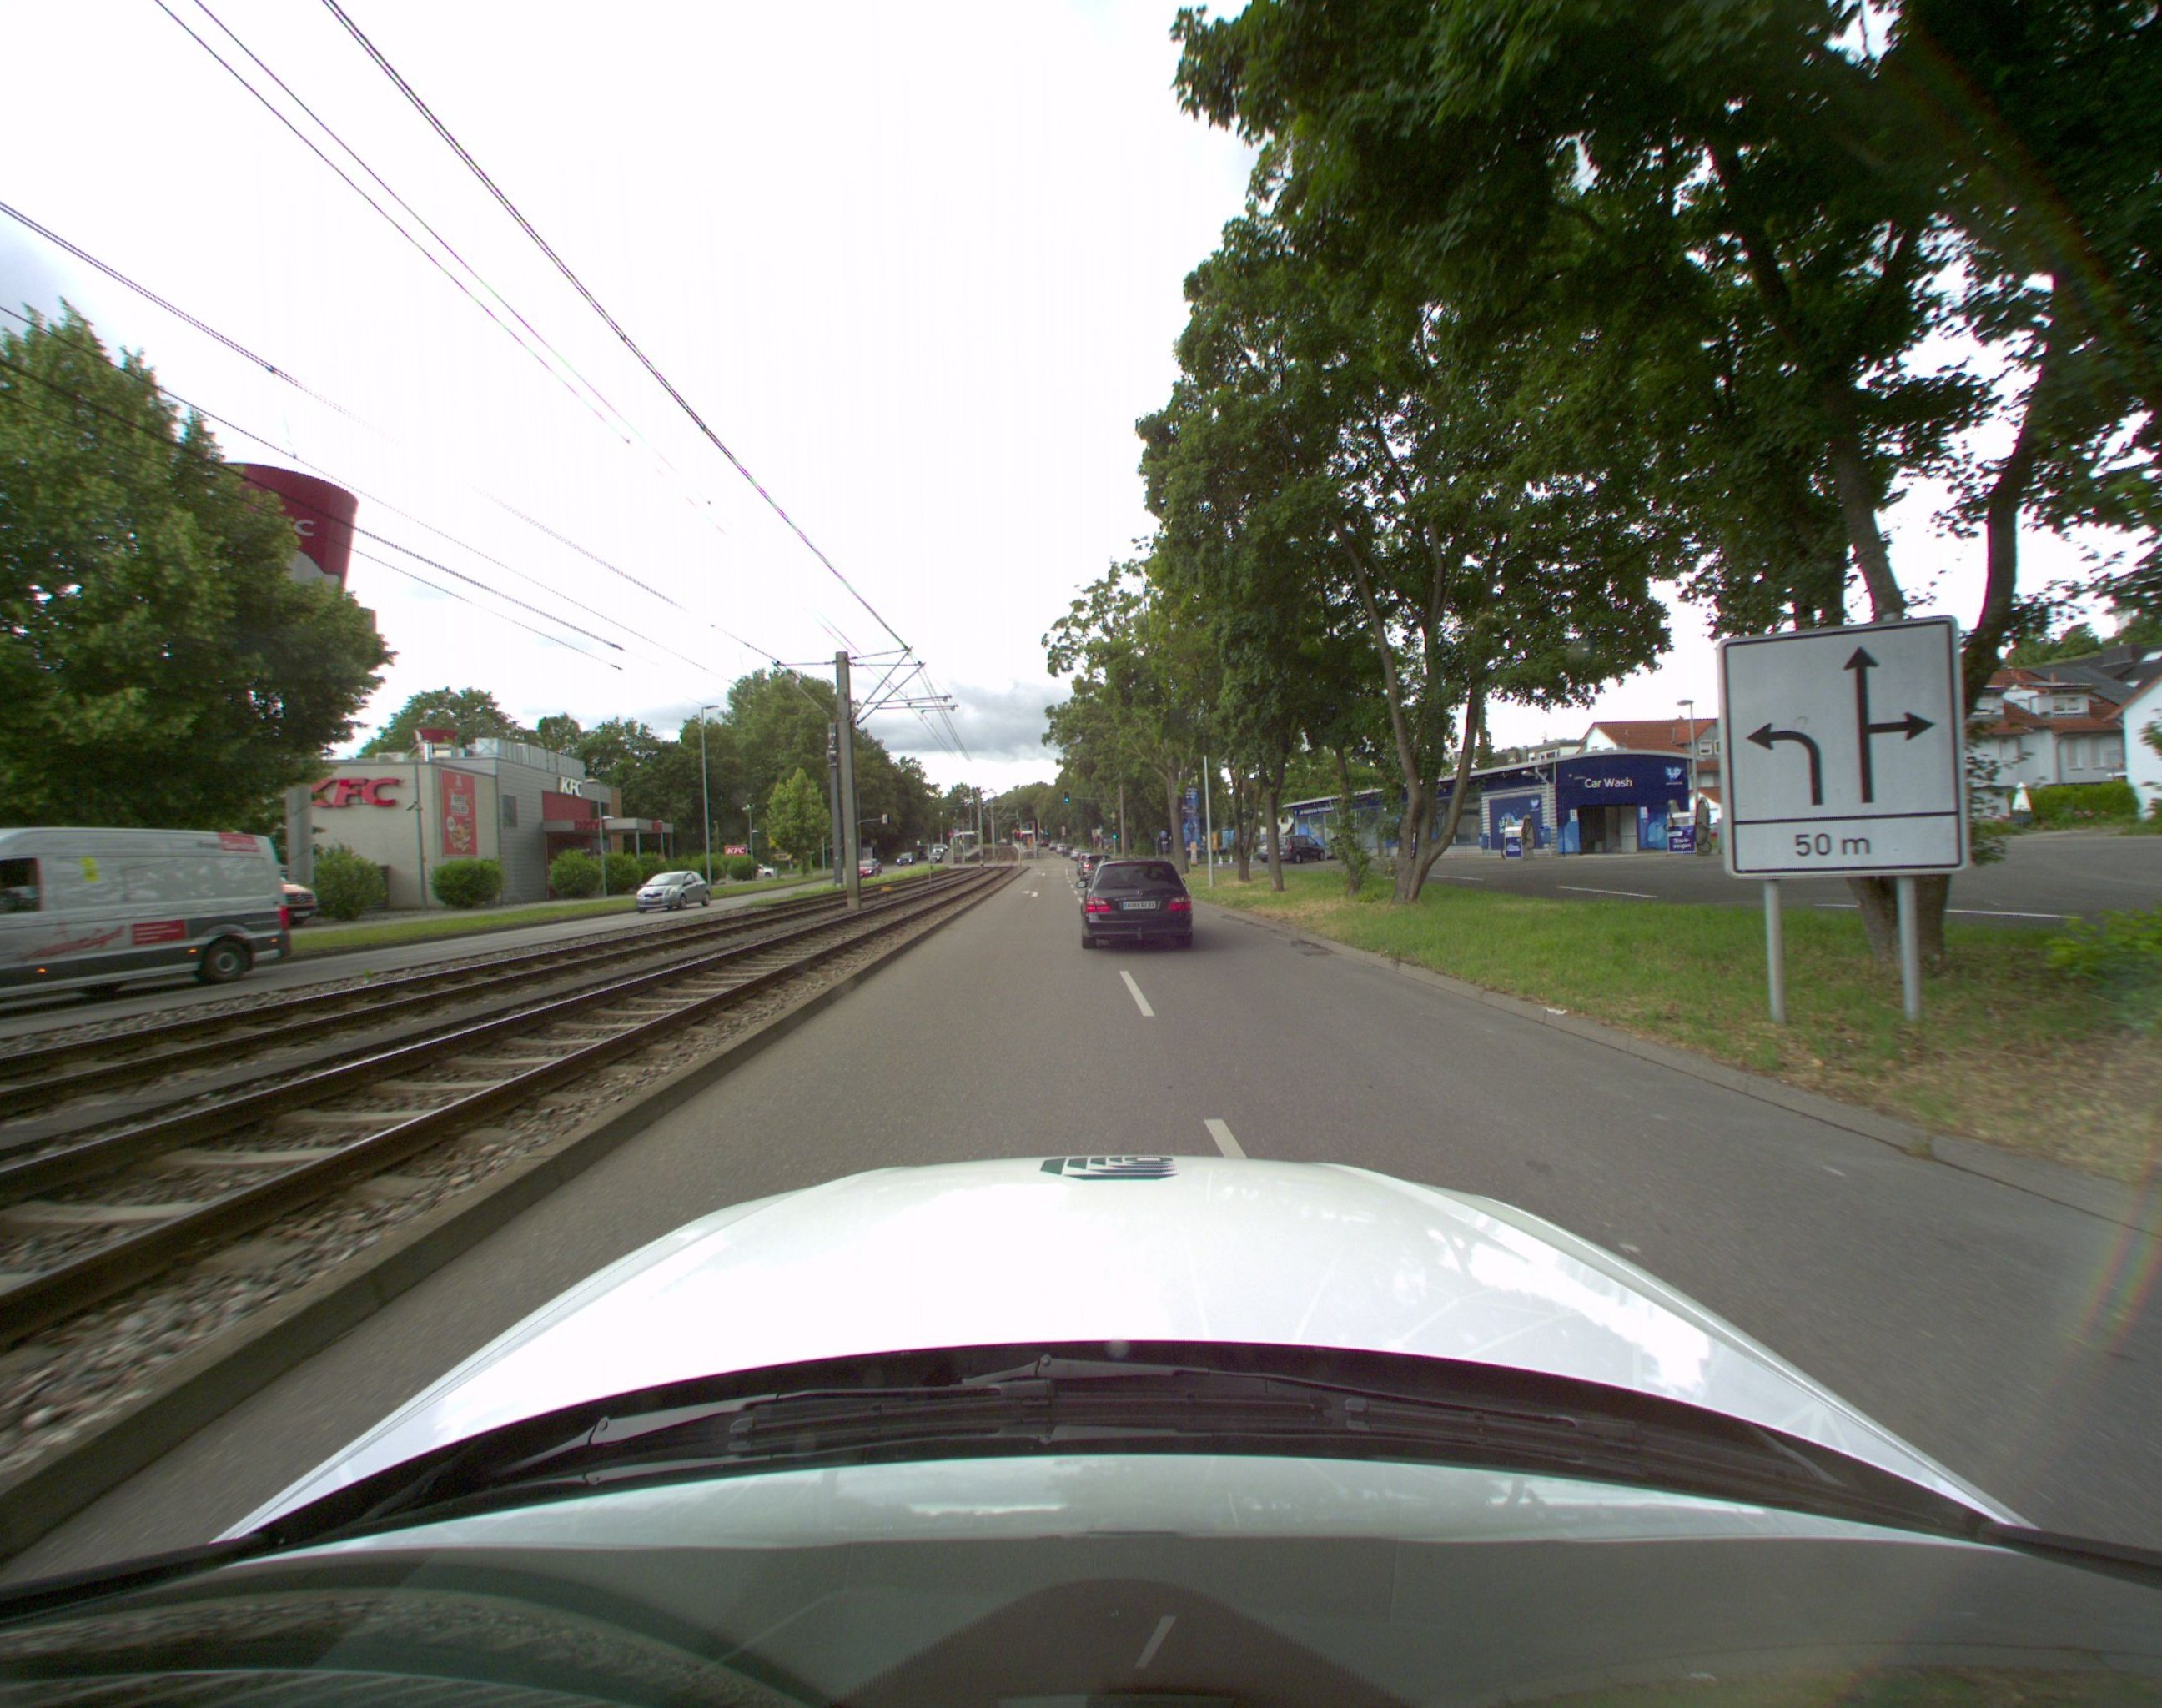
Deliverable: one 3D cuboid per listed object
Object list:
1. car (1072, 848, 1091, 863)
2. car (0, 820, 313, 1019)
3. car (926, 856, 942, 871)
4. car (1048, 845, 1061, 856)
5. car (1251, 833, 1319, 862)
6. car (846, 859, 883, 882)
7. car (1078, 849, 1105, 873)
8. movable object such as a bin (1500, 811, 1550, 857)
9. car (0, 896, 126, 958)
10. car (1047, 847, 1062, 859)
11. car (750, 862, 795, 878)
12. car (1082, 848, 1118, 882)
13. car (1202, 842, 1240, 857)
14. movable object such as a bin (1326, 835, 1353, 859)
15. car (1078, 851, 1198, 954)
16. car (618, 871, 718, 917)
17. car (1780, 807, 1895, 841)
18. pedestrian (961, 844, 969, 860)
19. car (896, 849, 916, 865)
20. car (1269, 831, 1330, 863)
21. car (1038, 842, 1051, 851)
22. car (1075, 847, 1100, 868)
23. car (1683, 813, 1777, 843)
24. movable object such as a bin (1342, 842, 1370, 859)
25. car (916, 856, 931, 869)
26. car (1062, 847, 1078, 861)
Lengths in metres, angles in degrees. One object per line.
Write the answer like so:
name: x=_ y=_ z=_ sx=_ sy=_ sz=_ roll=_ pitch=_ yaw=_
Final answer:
car: x=0.024 y=0.179 z=100.076 sx=1.991 sy=1.893 sz=3.992 roll=0 pitch=0 yaw=-6
car: x=-14.626 y=0.886 z=11.554 sx=1.865 sy=2.499 sz=5.992 roll=-4 pitch=0 yaw=-3
car: x=-19.507 y=1.240 z=108.003 sx=1.695 sy=1.860 sz=3.992 roll=0 pitch=0 yaw=-6
car: x=-5.016 y=-0.625 z=152.711 sx=1.993 sy=2.013 sz=3.987 roll=0 pitch=0 yaw=-9
car: x=14.077 y=-0.448 z=56.125 sx=4.214 sy=1.697 sz=1.828 roll=-3 pitch=1 yaw=-20
car: x=-16.386 y=1.212 z=61.865 sx=1.780 sy=1.582 sz=4.475 roll=-4 pitch=0 yaw=-5
car: x=0.745 y=0.463 z=56.031 sx=1.776 sy=1.648 sz=4.000 roll=0 pitch=0 yaw=0
movable object such as a bin: x=18.558 y=-0.816 z=34.089 sx=1.157 sy=1.818 sz=1.452 roll=-3 pitch=0 yaw=-6
car: x=-24.768 y=1.617 z=18.335 sx=3.978 sy=1.236 sz=1.998 roll=0 pitch=0 yaw=-3
car: x=-4.374 y=-0.132 z=134.965 sx=1.993 sy=2.013 sz=3.987 roll=0 pitch=0 yaw=-10
car: x=-32.223 y=1.650 z=85.105 sx=3.870 sy=1.408 sz=1.845 roll=-3 pitch=0 yaw=-3
car: x=0.945 y=0.539 z=42.101 sx=1.776 sy=1.648 sz=4.000 roll=0 pitch=0 yaw=0
car: x=16.001 y=-0.536 z=93.328 sx=4.135 sy=1.526 sz=1.706 roll=-2 pitch=0 yaw=3
movable object such as a bin: x=16.537 y=-0.449 z=52.090 sx=1.157 sy=1.474 sz=1.384 roll=-3 pitch=0 yaw=-6
car: x=0.846 y=0.719 z=14.163 sx=1.776 sy=1.525 sz=3.999 roll=0 pitch=0 yaw=-1
car: x=-16.383 y=1.526 z=32.552 sx=1.989 sy=1.482 sz=3.995 roll=-5 pitch=0 yaw=-3
car: x=38.787 y=-1.484 z=41.883 sx=1.785 sy=1.575 sz=3.975 roll=0 pitch=0 yaw=-18
pedestrian: x=-16.158 y=-0.284 z=113.574 sx=0.968 sy=2.185 sz=0.975 roll=-2 pitch=1 yaw=-4
car: x=-22.522 y=0.392 z=105.118 sx=1.991 sy=2.013 sz=4.238 roll=-3 pitch=0 yaw=-6
car: x=14.032 y=-0.438 z=52.110 sx=1.729 sy=1.821 sz=4.410 roll=-3 pitch=0 yaw=45
car: x=-8.007 y=-1.574 z=178.380 sx=1.996 sy=2.013 sz=3.981 roll=0 pitch=0 yaw=-14
car: x=0.612 y=0.327 z=77.511 sx=1.991 sy=1.918 sz=3.992 roll=0 pitch=0 yaw=-6
car: x=37.528 y=-1.480 z=47.200 sx=1.785 sy=1.575 sz=3.976 roll=0 pitch=0 yaw=-18
movable object such as a bin: x=16.532 y=-0.206 z=48.950 sx=1.157 sy=0.976 sz=1.186 roll=-3 pitch=0 yaw=-6
car: x=-25.852 y=1.373 z=134.097 sx=1.991 sy=2.013 sz=4.098 roll=-3 pitch=0 yaw=-6
car: x=-1.613 y=0.053 z=118.378 sx=1.991 sy=1.966 sz=3.992 roll=0 pitch=0 yaw=-6
